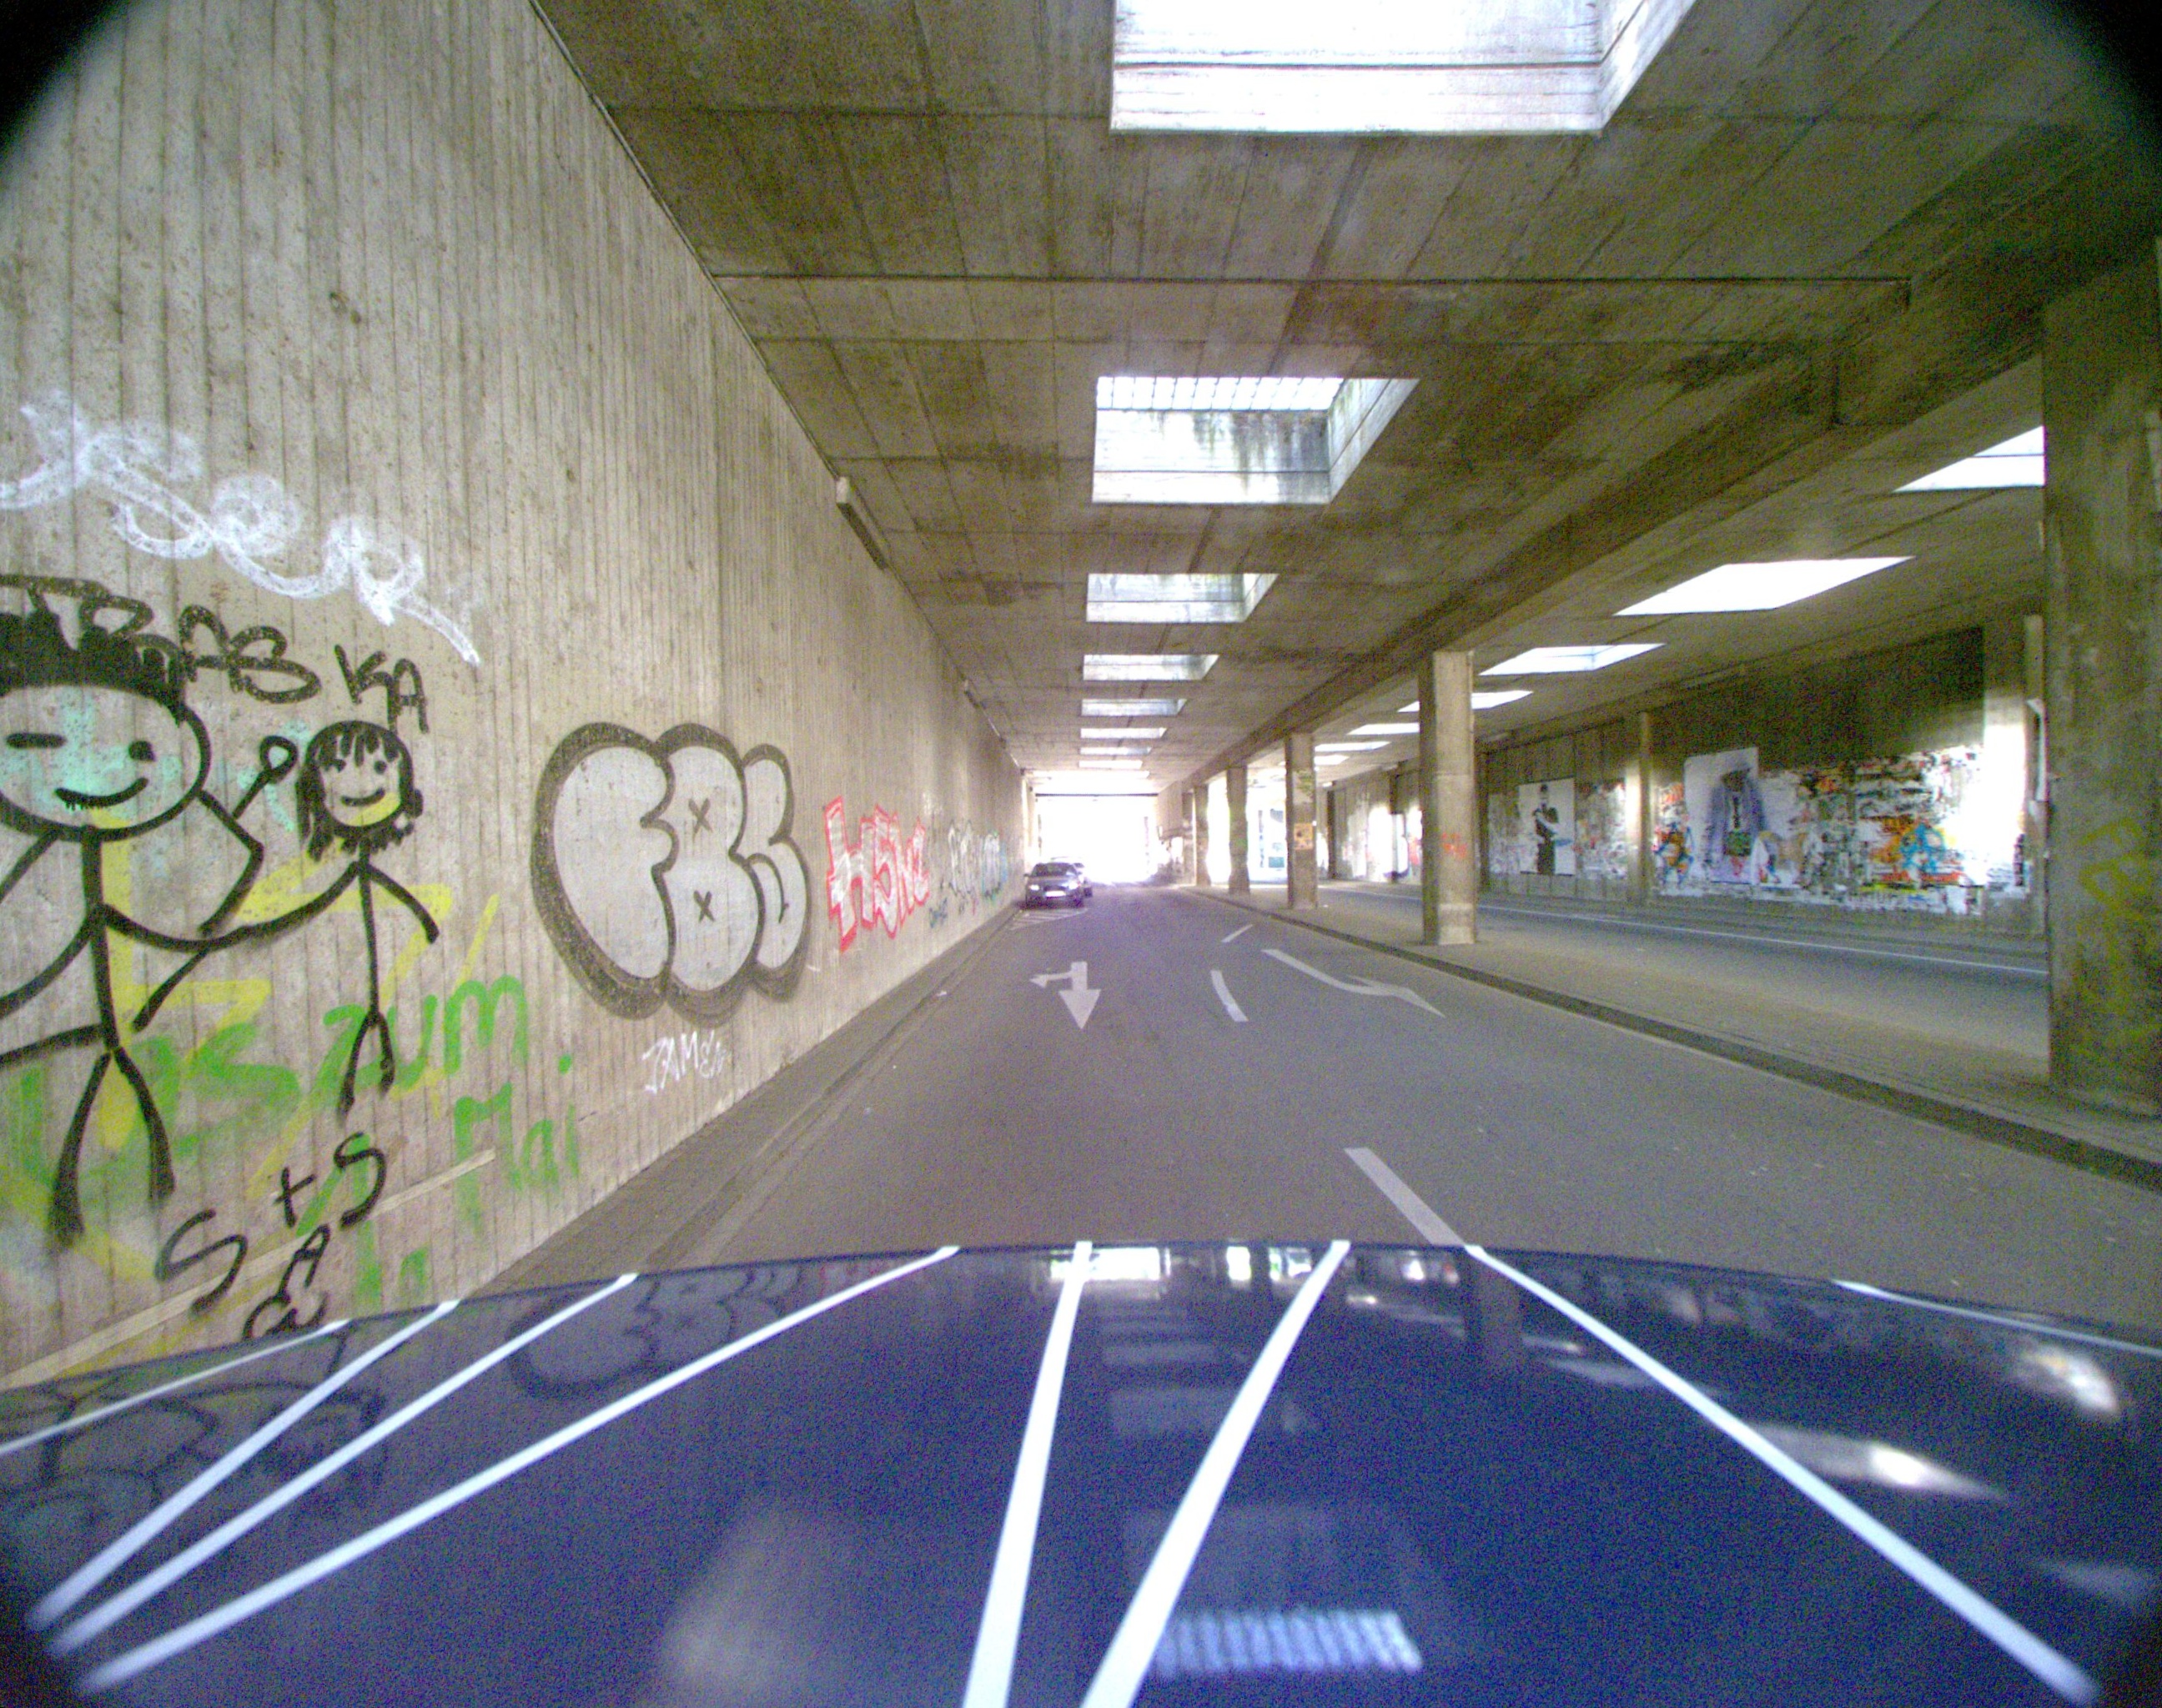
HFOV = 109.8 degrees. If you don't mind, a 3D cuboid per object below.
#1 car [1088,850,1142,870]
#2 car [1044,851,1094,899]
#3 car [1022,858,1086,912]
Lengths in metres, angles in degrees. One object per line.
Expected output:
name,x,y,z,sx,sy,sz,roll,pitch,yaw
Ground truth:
car,3.283,0.556,73.181,4.858,1.740,1.999,-2,1,-7
car,-0.491,0.766,29.808,1.767,1.634,3.999,-2,1,-2
car,-0.764,0.916,24.025,1.767,1.407,3.999,-2,1,1
